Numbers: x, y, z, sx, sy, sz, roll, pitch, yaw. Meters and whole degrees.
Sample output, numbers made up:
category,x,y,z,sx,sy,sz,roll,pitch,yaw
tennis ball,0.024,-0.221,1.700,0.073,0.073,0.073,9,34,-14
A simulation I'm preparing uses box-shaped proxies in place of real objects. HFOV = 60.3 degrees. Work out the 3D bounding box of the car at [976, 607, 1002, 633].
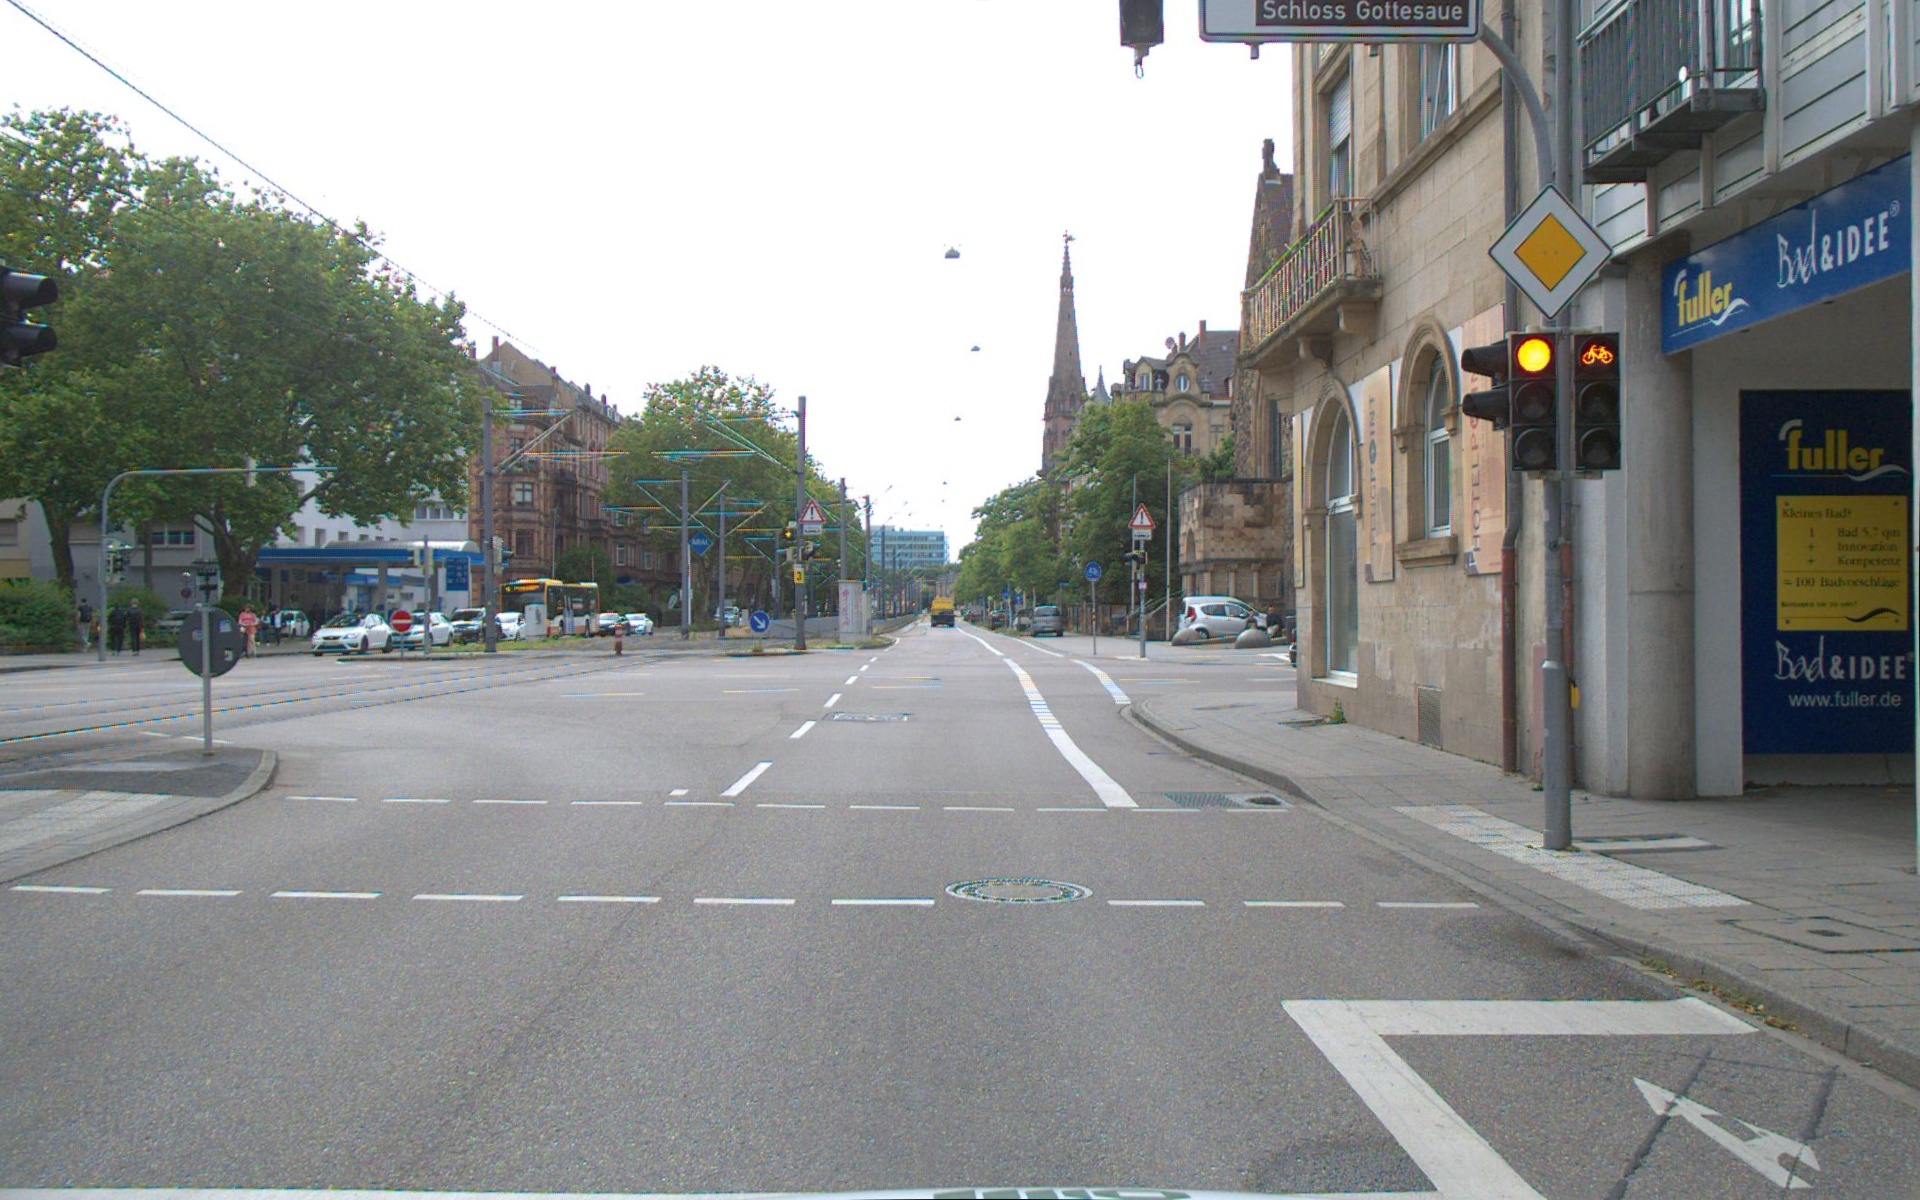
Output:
category,x,y,z,sx,sy,sz,roll,pitch,yaw
car,2.382,1.625,136.006,1.953,2.049,3.999,1,0,-1

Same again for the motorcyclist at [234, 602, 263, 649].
category,x,y,z,sx,sy,sz,roll,pitch,yaw
motorcyclist,-23.658,0.857,55.013,0.607,1.546,0.873,0,0,-1

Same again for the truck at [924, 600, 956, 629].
category,x,y,z,sx,sy,sz,roll,pitch,yaw
truck,-1.955,1.393,164.885,2.992,2.817,9.816,0,0,1

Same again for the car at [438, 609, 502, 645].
category,x,y,z,sx,sy,sz,roll,pitch,yaw
car,-21.221,1.138,71.787,1.622,1.504,3.638,1,0,1

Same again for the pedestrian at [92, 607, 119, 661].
category,x,y,z,sx,sy,sz,roll,pitch,yaw
pedestrian,-27.799,1.085,53.800,0.679,1.743,0.864,0,0,-22

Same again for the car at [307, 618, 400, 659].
category,x,y,z,sx,sy,sz,roll,pitch,yaw
car,-21.435,1.330,58.591,1.711,1.344,4.075,1,0,1

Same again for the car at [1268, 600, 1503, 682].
category,x,y,z,sx,sy,sz,roll,pitch,yaw
car,8.764,0.817,34.043,4.464,1.591,1.984,0,0,-25

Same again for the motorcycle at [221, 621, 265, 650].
category,x,y,z,sx,sy,sz,roll,pitch,yaw
motorcycle,-23.689,1.167,54.678,0.594,0.945,1.951,0,0,0

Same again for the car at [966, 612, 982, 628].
category,x,y,z,sx,sy,sz,roll,pitch,yaw
car,1.775,2.658,216.828,1.953,2.049,3.999,1,0,-1

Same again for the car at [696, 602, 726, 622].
category,x,y,z,sx,sy,sz,roll,pitch,yaw
car,-21.217,1.022,141.187,1.953,1.639,3.999,1,0,-1

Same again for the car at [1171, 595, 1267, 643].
category,x,y,z,sx,sy,sz,roll,pitch,yaw
car,10.693,0.793,68.561,3.638,1.888,2.000,1,0,-1

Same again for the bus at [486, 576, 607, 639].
category,x,y,z,sx,sy,sz,roll,pitch,yaw
bus,-21.963,0.416,88.760,3.164,3.088,12.312,1,0,1

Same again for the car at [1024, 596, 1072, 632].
category,x,y,z,sx,sy,sz,roll,pitch,yaw
car,4.818,0.769,90.052,1.951,1.888,4.030,1,0,12

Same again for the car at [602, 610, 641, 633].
category,x,y,z,sx,sy,sz,roll,pitch,yaw
car,-20.837,1.304,101.894,1.622,1.344,3.638,1,0,1

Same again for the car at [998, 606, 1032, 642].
category,x,y,z,sx,sy,sz,roll,pitch,yaw
car,3.291,1.419,99.651,1.952,2.049,4.000,1,0,1

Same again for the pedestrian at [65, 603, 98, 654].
category,x,y,z,sx,sy,sz,roll,pitch,yaw
pedestrian,-30.230,0.980,56.909,0.669,1.720,0.742,1,-1,4

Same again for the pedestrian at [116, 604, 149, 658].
category,x,y,z,sx,sy,sz,roll,pitch,yaw
pedestrian,-27.101,1.001,54.172,0.860,1.743,0.868,0,0,-22

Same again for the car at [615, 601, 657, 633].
category,x,y,z,sx,sy,sz,roll,pitch,yaw
car,-21.409,1.132,109.401,1.953,2.049,3.999,1,0,-1

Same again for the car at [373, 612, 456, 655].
category,x,y,z,sx,sy,sz,roll,pitch,yaw
car,-21.421,1.286,65.134,1.953,1.622,3.999,1,0,-1

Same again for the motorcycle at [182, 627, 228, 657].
category,x,y,z,sx,sy,sz,roll,pitch,yaw
motorcycle,-24.678,1.369,54.083,0.594,0.945,1.951,0,0,0

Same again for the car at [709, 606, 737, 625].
category,x,y,z,sx,sy,sz,roll,pitch,yaw
car,-21.333,1.379,148.997,1.953,1.639,3.999,1,0,-1

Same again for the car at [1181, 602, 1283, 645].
category,x,y,z,sx,sy,sz,roll,pitch,yaw
car,10.676,0.925,65.084,3.638,1.591,2.000,1,0,-1

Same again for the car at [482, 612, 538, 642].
category,x,y,z,sx,sy,sz,roll,pitch,yaw
car,-21.377,1.283,78.705,1.622,1.344,3.638,1,0,1

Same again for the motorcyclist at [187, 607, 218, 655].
category,x,y,z,sx,sy,sz,roll,pitch,yaw
motorcyclist,-24.676,0.993,53.913,0.607,1.546,0.873,0,0,-1

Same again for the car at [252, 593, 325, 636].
category,x,y,z,sx,sy,sz,roll,pitch,yaw
car,-32.843,0.695,81.003,1.953,2.049,3.999,0,0,-1
